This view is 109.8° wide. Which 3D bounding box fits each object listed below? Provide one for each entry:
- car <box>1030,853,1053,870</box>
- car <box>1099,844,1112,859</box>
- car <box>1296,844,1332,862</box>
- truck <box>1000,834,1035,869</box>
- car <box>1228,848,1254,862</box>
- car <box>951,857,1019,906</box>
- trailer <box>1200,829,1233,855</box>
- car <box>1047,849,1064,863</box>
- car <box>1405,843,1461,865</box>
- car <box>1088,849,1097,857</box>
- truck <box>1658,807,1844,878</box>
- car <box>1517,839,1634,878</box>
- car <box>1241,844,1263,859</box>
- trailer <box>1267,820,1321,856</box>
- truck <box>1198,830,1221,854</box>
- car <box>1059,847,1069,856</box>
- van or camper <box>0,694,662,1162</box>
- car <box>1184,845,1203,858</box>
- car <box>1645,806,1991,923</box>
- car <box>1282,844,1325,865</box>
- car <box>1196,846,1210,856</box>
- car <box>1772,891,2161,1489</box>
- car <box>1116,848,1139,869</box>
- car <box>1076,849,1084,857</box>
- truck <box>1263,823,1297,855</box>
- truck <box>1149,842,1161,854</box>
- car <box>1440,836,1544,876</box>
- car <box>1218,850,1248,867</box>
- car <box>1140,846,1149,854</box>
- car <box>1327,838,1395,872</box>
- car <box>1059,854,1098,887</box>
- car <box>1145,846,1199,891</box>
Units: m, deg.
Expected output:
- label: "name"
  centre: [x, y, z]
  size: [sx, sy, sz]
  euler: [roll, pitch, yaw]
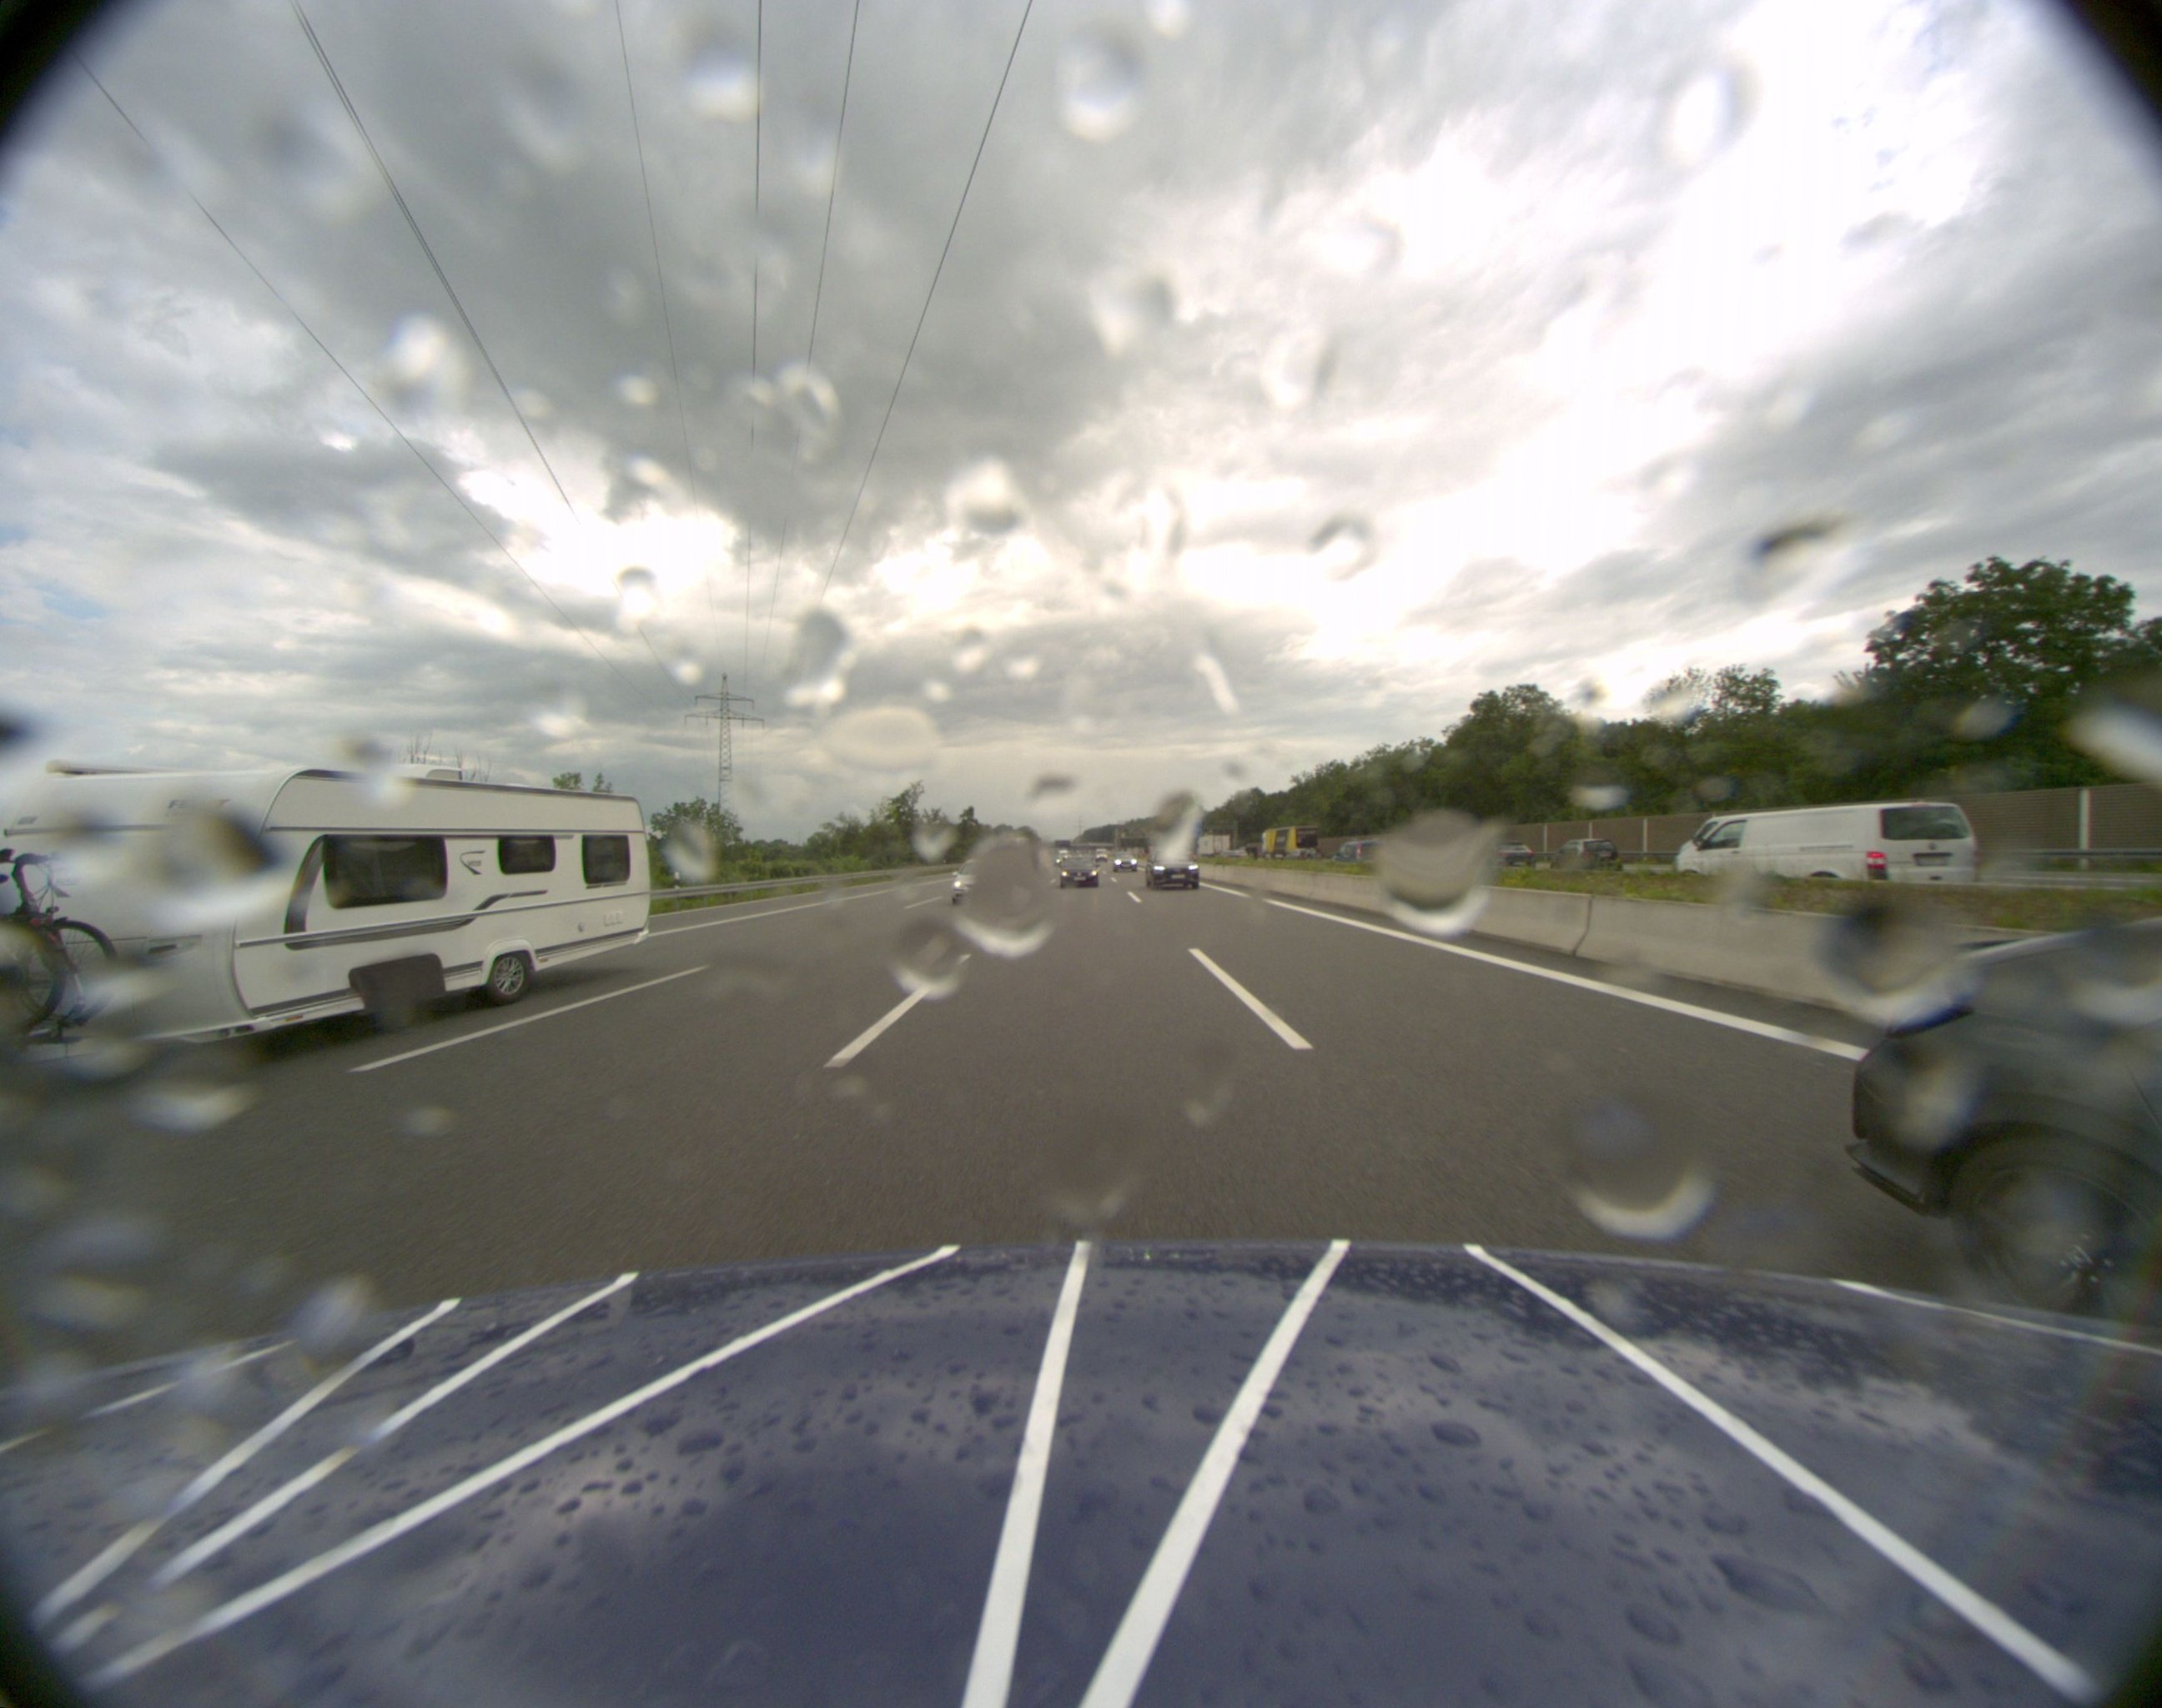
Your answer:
- label: "car"
  centre: [-3.617, 0.654, 69.897]
  size: [1.840, 1.437, 4.000]
  euler: [-2, 1, 1]
- label: "car"
  centre: [4.299, -0.512, 134.457]
  size: [1.998, 2.524, 4.808]
  euler: [-2, 1, 1]
- label: "car"
  centre: [21.997, -0.102, 71.932]
  size: [1.770, 1.528, 5.160]
  euler: [-2, 1, 0]
- label: "truck"
  centre: [-7.067, -0.348, 85.539]
  size: [2.870, 3.633, 9.594]
  euler: [-2, 1, 1]
- label: "car"
  centre: [18.363, 0.122, 87.418]
  size: [1.770, 1.528, 5.239]
  euler: [-2, 1, 0]
- label: "car"
  centre: [-3.175, 0.882, 25.823]
  size: [1.683, 1.437, 4.000]
  euler: [-2, 1, 1]
- label: "trailer"
  centre: [21.917, -1.916, 123.376]
  size: [2.732, 3.863, 14.050]
  euler: [-2, 1, 0]
- label: "car"
  centre: [-3.295, 0.223, 98.093]
  size: [1.998, 1.701, 3.999]
  euler: [-2, 1, 0]
- label: "car"
  centre: [26.055, -0.041, 56.430]
  size: [1.770, 1.487, 5.160]
  euler: [-2, 1, 0]
- label: "car"
  centre: [2.815, -0.241, 179.958]
  size: [1.998, 2.002, 4.000]
  euler: [-2, 1, 1]
- label: "truck"
  centre: [25.807, -0.443, 29.665]
  size: [2.121, 2.403, 5.796]
  euler: [-2, 1, 0]
- label: "car"
  centre: [21.569, 0.162, 33.453]
  size: [1.770, 1.528, 5.160]
  euler: [-2, 1, 0]
- label: "car"
  centre: [22.860, -0.398, 101.638]
  size: [1.770, 1.883, 5.038]
  euler: [-2, 1, 0]
- label: "trailer"
  centre: [25.891, -1.889, 93.194]
  size: [2.684, 3.941, 14.051]
  euler: [-2, 1, 1]
- label: "truck"
  centre: [21.927, -1.995, 129.960]
  size: [2.732, 3.863, 6.003]
  euler: [-2, 1, 1]
- label: "car"
  centre: [-3.700, -0.568, 169.579]
  size: [1.998, 2.002, 4.000]
  euler: [-2, 1, 1]
- label: "van or camper"
  centre: [-7.545, 0.438, 7.849]
  size: [2.390, 2.723, 7.207]
  euler: [-2, 1, -1]
- label: "car"
  centre: [14.689, -0.339, 99.306]
  size: [1.770, 1.528, 4.582]
  euler: [-2, 1, 0]
- label: "car"
  centre: [14.265, 0.149, 15.302]
  size: [1.927, 1.888, 5.160]
  euler: [-2, 1, 0]
- label: "car"
  centre: [18.214, 0.028, 62.498]
  size: [1.770, 1.540, 5.713]
  euler: [-2, 1, 0]
- label: "car"
  centre: [20.752, -0.527, 129.540]
  size: [1.763, 1.528, 3.999]
  euler: [-2, 1, 0]
- label: "car"
  centre: [3.499, 0.851, 0.343]
  size: [1.765, 1.361, 5.059]
  euler: [-2, 0, 0]
- label: "car"
  centre: [3.844, 0.325, 63.069]
  size: [1.840, 1.615, 4.915]
  euler: [-2, 1, 3]
- label: "car"
  centre: [-0.178, -0.210, 193.446]
  size: [1.998, 2.002, 4.000]
  euler: [-2, 1, 1]
- label: "truck"
  centre: [25.969, -1.951, 99.381]
  size: [2.684, 3.941, 6.442]
  euler: [-2, 1, 1]
- label: "truck"
  centre: [18.040, -1.377, 185.292]
  size: [2.335, 2.812, 6.248]
  euler: [-2, 1, 0]
- label: "car"
  centre: [17.984, 0.057, 33.573]
  size: [1.770, 1.528, 5.160]
  euler: [-2, 1, 0]
- label: "car"
  centre: [14.690, 0.438, 73.749]
  size: [1.770, 1.528, 5.160]
  euler: [-2, 1, 0]
- label: "car"
  centre: [13.953, -0.896, 165.971]
  size: [1.592, 1.528, 3.547]
  euler: [-2, 1, 0]
- label: "car"
  centre: [14.112, 0.017, 38.547]
  size: [1.770, 1.528, 4.482]
  euler: [-2, 1, 0]
- label: "car"
  centre: [-0.068, 0.745, 36.389]
  size: [1.717, 1.437, 4.000]
  euler: [-2, 1, 1]
- label: "car"
  centre: [3.791, 0.546, 32.503]
  size: [1.913, 1.681, 5.169]
  euler: [-2, 1, 3]
